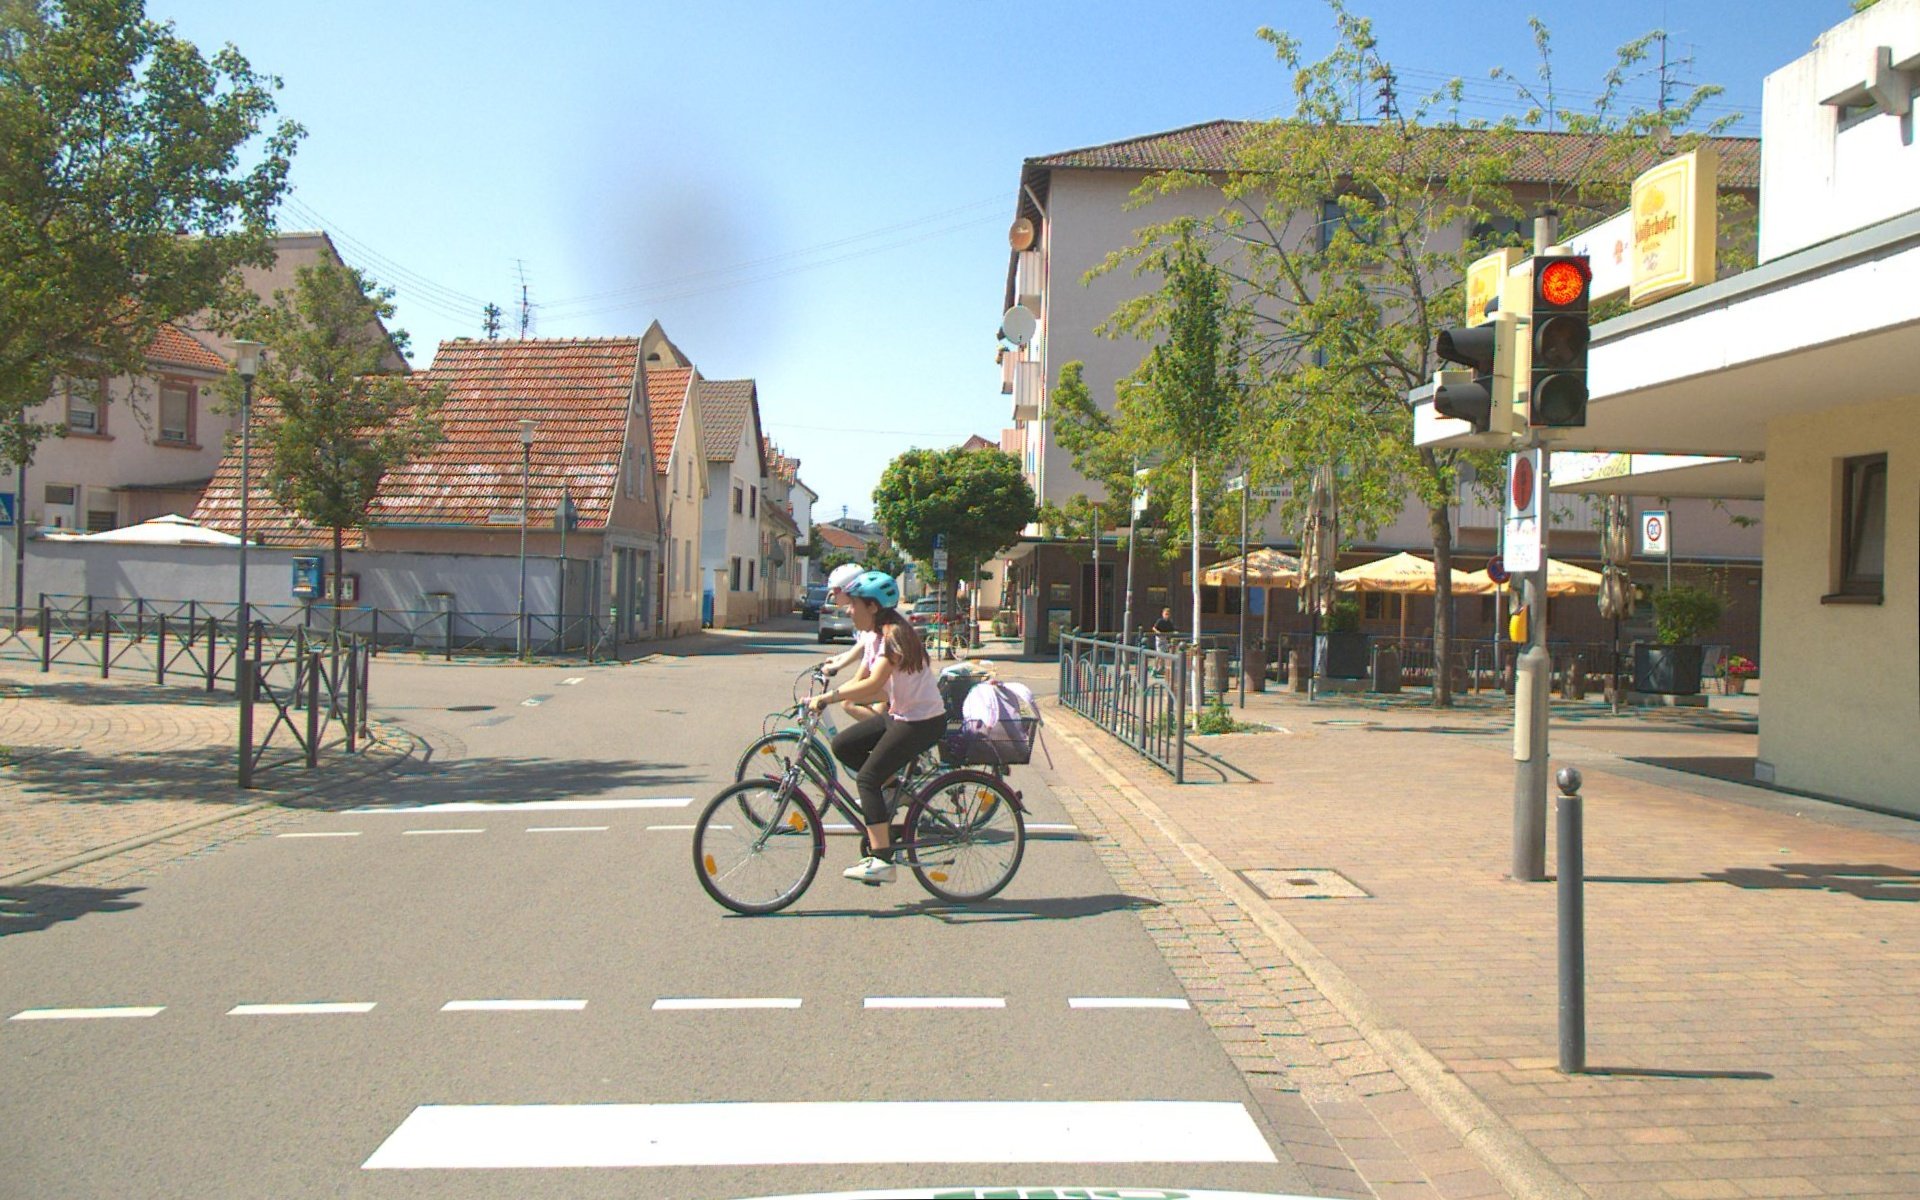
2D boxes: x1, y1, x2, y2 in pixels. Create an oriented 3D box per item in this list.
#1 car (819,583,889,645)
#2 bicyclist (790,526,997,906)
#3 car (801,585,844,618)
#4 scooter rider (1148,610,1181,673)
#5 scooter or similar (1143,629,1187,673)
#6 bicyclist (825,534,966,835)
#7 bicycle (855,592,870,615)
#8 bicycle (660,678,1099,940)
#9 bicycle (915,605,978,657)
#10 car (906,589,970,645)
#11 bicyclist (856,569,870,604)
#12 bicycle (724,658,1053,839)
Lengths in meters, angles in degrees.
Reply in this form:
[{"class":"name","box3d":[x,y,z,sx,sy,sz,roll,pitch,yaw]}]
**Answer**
[{"class":"car","box3d":[-3.169,0.381,49.908,1.796,1.680,4.000,3,1,0]},{"class":"bicyclist","box3d":[-0.310,0.484,7.470,0.748,1.609,0.667,-1,1,-21]},{"class":"car","box3d":[-6.608,0.065,79.703,1.679,1.543,3.786,1,0,0]},{"class":"scooter rider","box3d":[4.280,0.865,34.612,0.513,1.308,0.412,1,0,-41]},{"class":"scooter or similar","box3d":[4.283,1.066,34.607,0.376,0.889,0.877,1,0,-41]},{"class":"bicyclist","box3d":[-0.363,0.475,9.674,0.743,1.693,0.671,-1,0,3]},{"class":"bicycle","box3d":[-4.798,0.180,81.387,0.660,1.113,1.896,0,0,-1]},{"class":"bicycle","box3d":[-0.359,0.892,7.452,1.863,0.974,0.672,-1,1,-21]},{"class":"bicycle","box3d":[-0.336,0.752,40.281,0.523,1.214,1.648,1,0,-44]},{"class":"car","box3d":[-0.607,0.476,49.050,1.768,1.527,4.000,1,1,1]},{"class":"bicyclist","box3d":[-4.790,-0.655,81.447,0.655,1.720,0.761,0,0,-1]},{"class":"bicycle","box3d":[-0.395,0.849,9.676,1.850,0.974,0.676,-1,0,1]}]
